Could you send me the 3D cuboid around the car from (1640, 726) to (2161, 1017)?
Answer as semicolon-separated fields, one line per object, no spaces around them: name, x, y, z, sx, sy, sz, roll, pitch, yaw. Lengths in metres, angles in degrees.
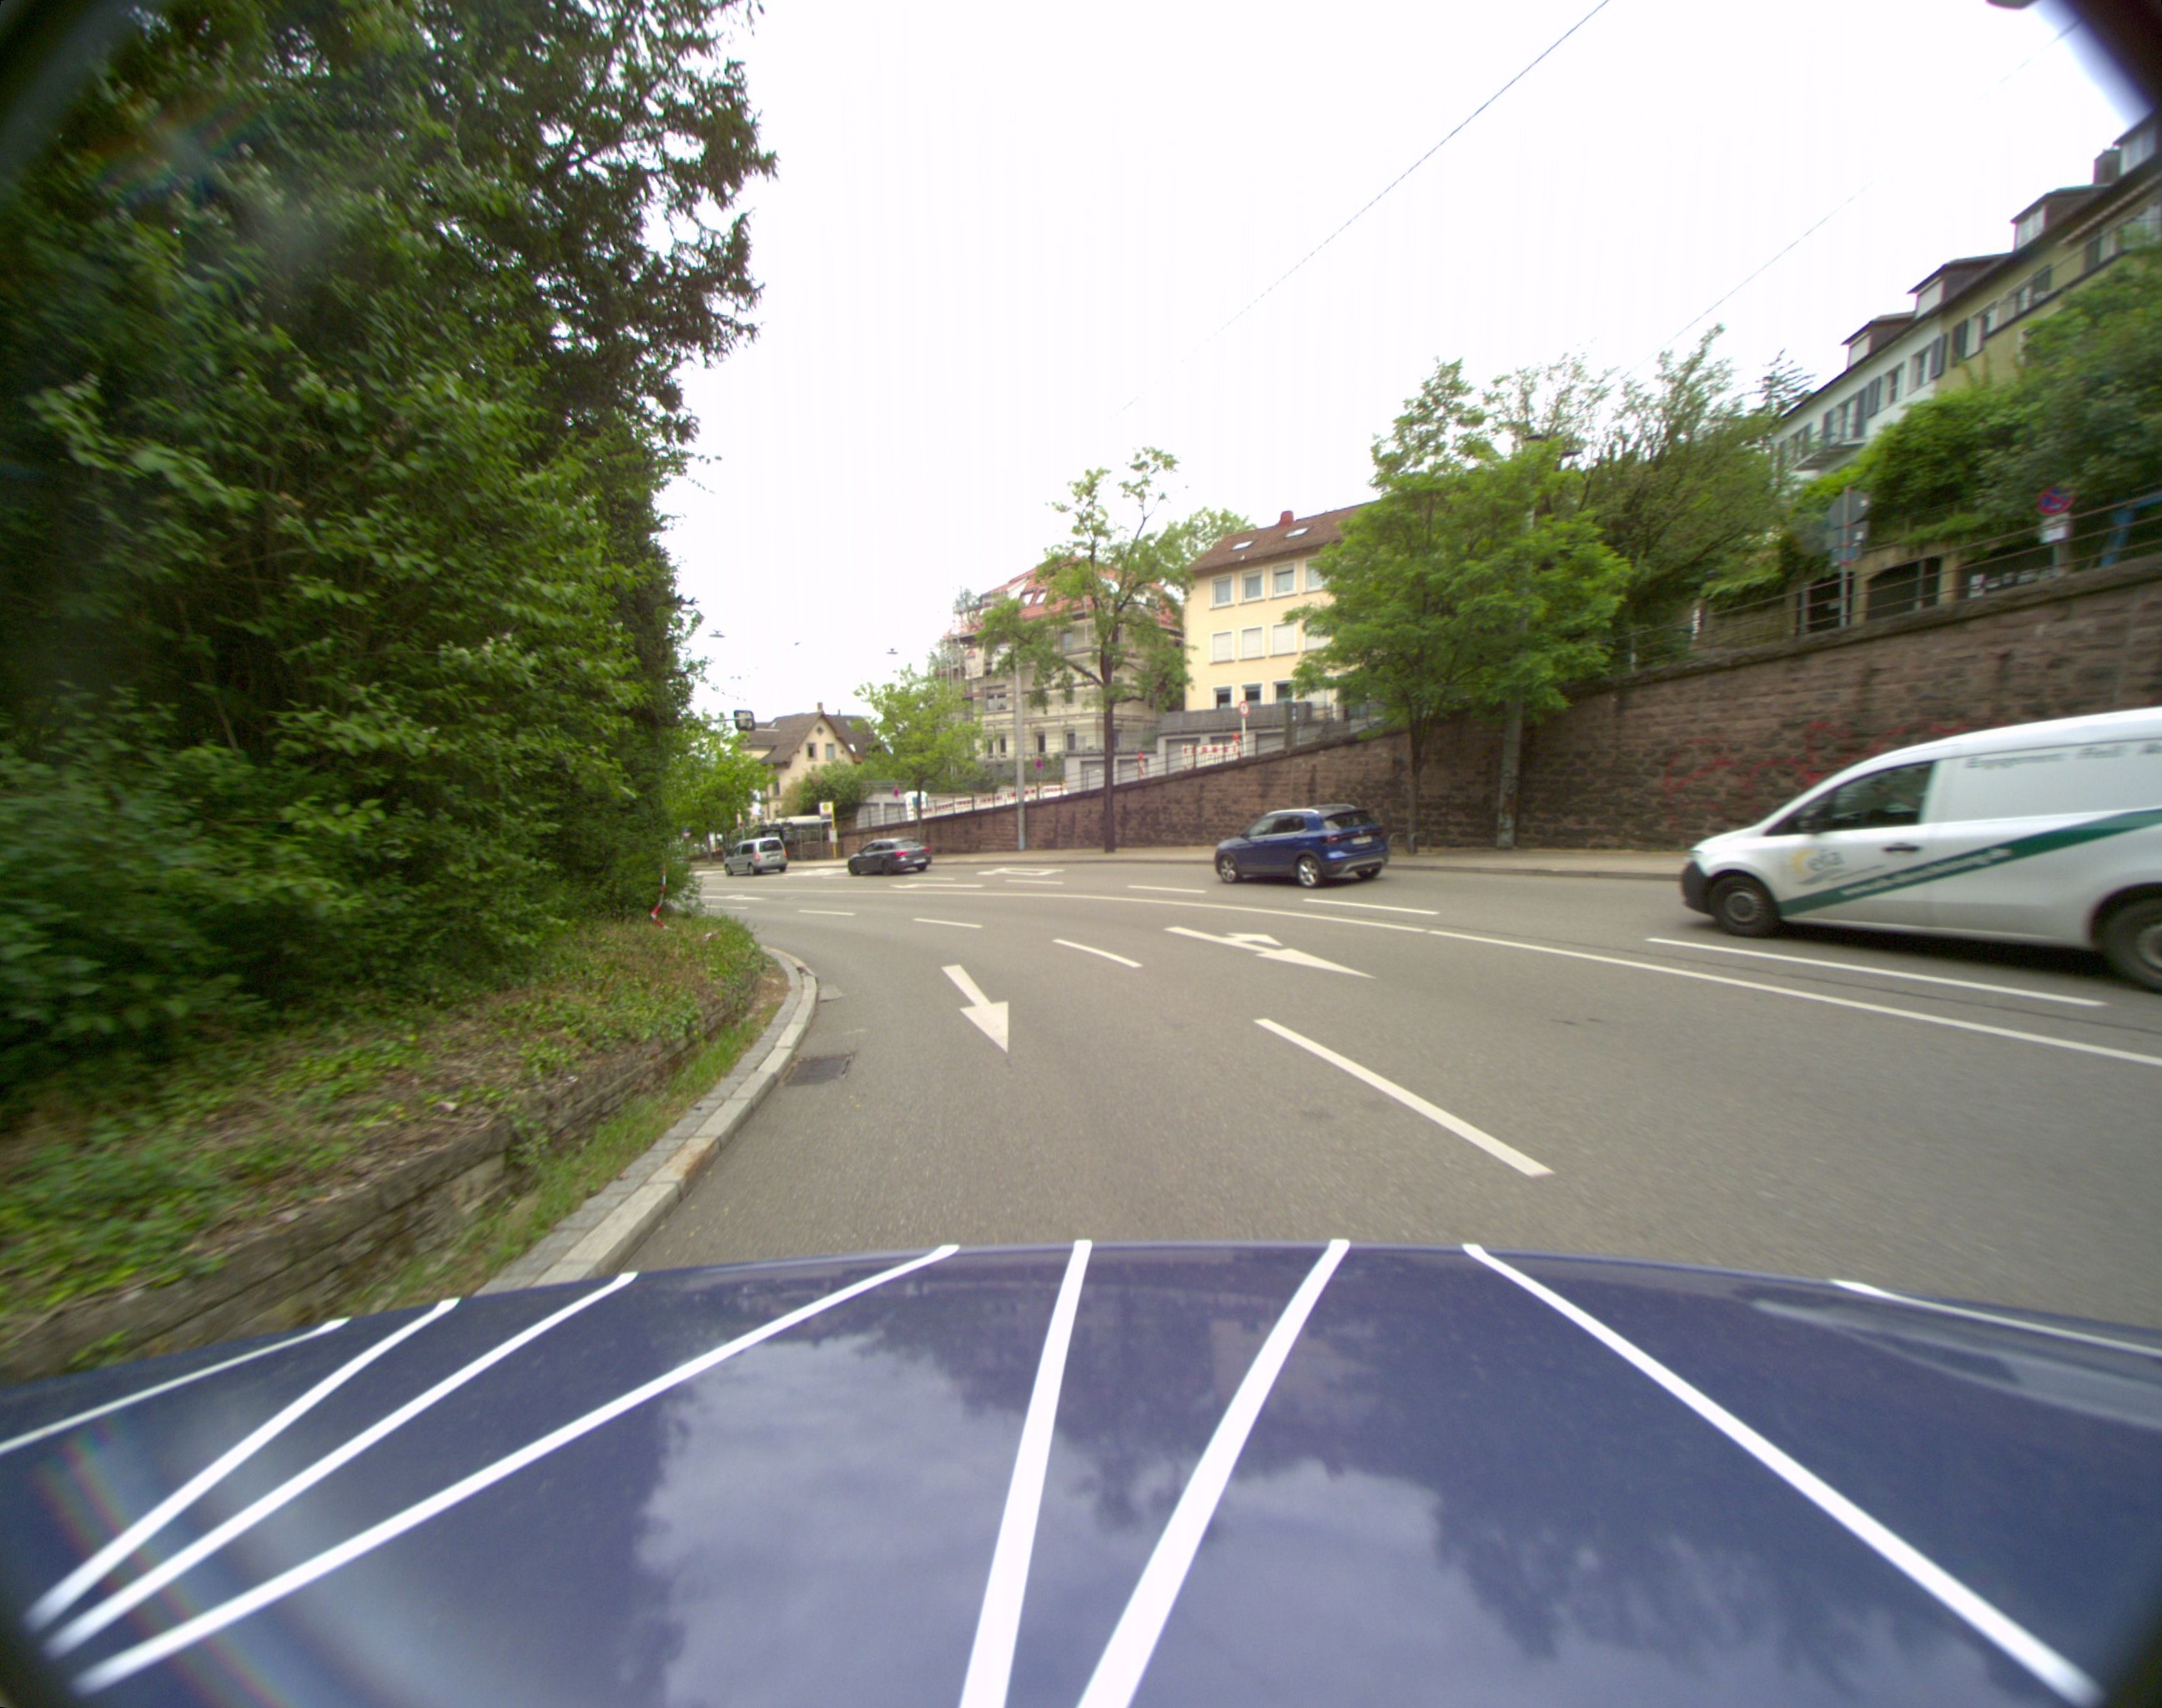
car;7.324;-0.005;6.065;1.827;1.754;4.666;-7;2;-6

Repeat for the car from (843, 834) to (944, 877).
car;-7.740;0.057;31.115;4.390;1.459;1.791;-1;7;44

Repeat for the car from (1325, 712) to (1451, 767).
car;11.558;-4.296;28.810;1.777;1.632;4.053;-8;6;-37

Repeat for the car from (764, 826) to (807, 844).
car;-24.589;-1.592;63.165;3.624;1.414;1.713;0;3;41

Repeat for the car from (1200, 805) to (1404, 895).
car;4.546;-0.116;16.283;1.733;1.520;4.192;-8;4;-26

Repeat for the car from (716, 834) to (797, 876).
car;-16.807;0.077;39.273;4.437;1.805;1.864;-1;7;41
